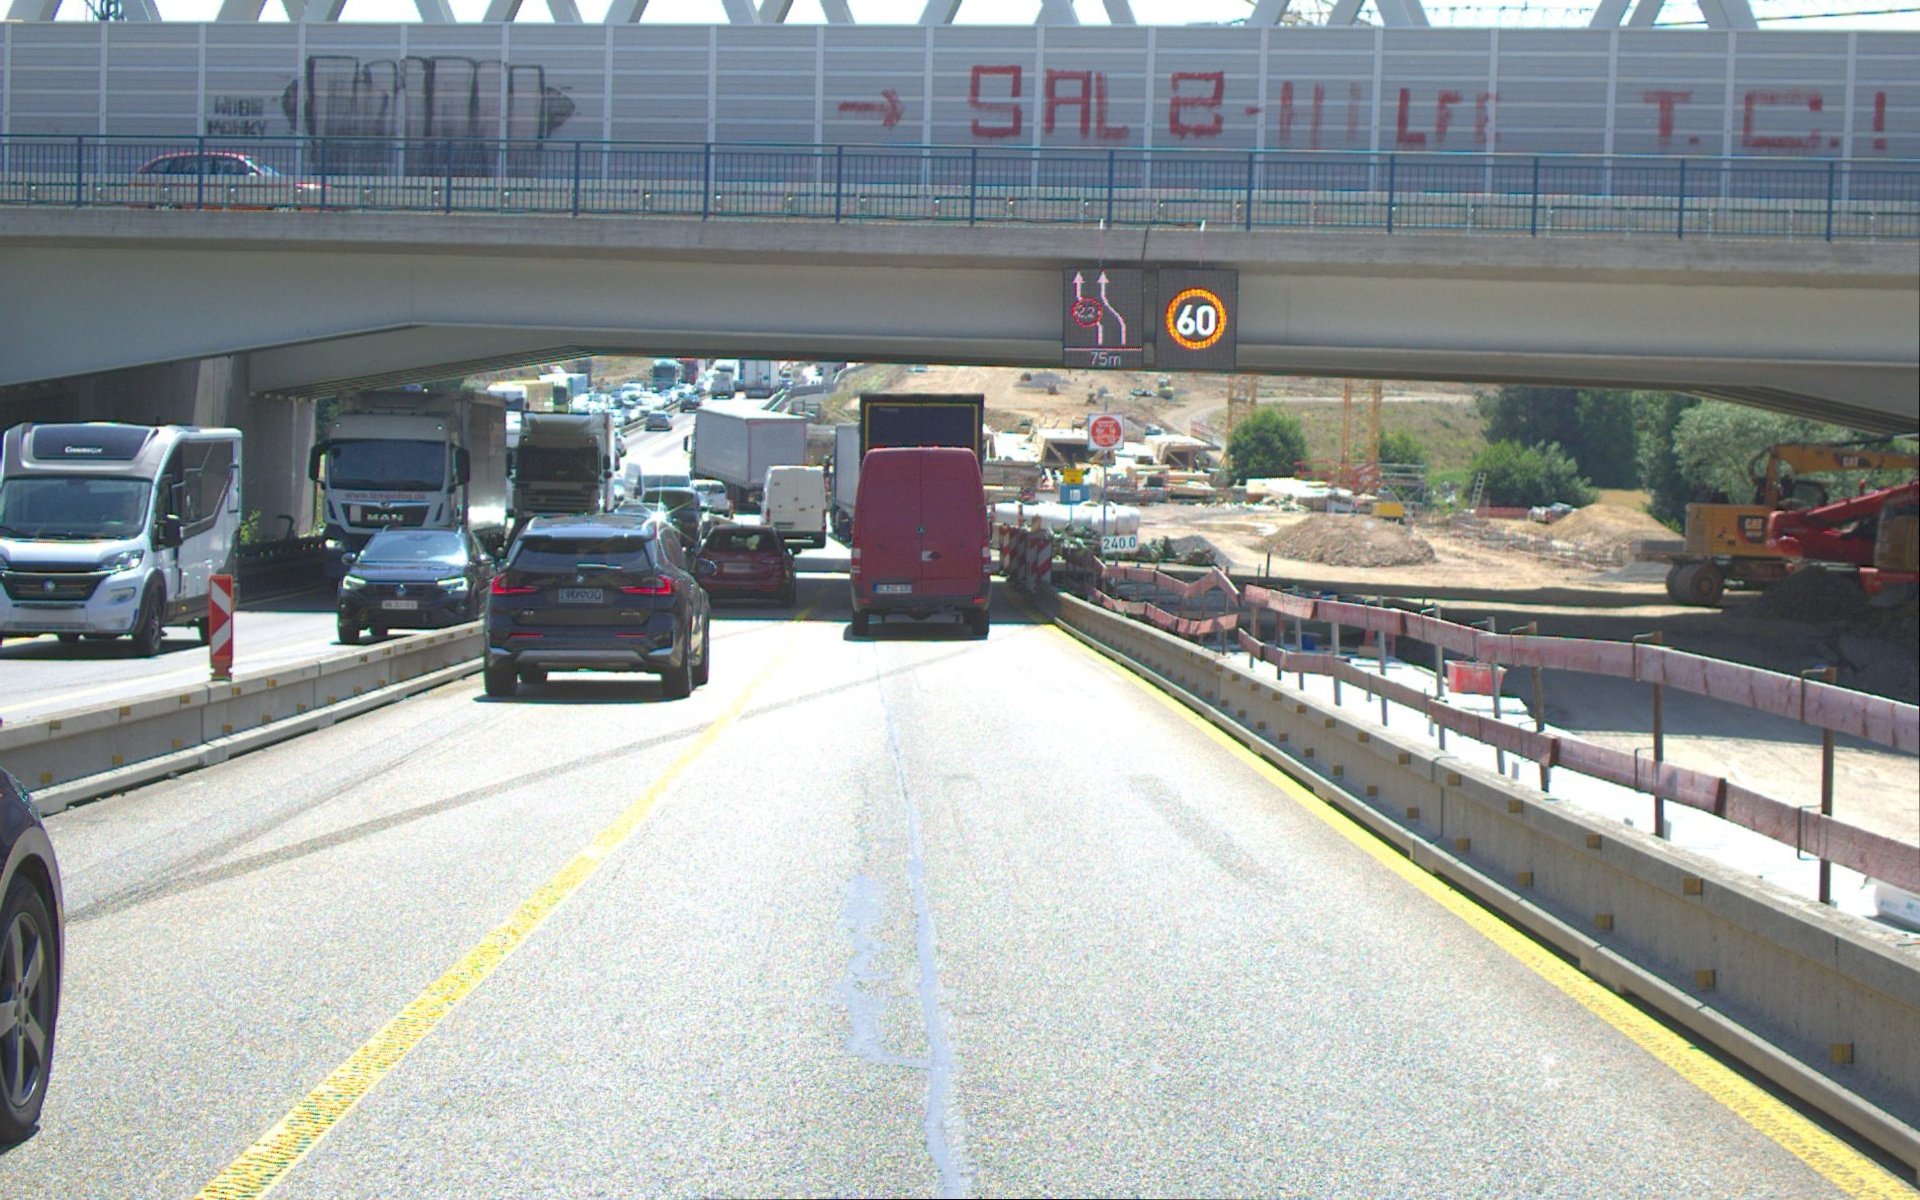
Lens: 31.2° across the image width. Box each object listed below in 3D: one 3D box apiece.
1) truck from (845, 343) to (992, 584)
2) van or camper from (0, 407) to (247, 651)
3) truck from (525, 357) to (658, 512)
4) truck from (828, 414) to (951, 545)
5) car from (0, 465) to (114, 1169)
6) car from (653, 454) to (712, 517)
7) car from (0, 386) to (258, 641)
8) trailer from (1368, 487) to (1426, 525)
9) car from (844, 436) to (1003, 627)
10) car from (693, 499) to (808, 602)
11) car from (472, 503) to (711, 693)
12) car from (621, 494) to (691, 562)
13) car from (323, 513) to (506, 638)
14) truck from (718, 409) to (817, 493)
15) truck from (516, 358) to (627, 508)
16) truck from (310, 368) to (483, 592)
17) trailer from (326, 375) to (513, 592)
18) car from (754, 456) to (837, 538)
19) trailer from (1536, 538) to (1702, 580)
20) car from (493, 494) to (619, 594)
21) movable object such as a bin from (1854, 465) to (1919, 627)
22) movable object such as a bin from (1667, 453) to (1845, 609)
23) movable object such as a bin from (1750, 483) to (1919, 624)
[{"bbox_3d":[-0.917,-3.058,74.267,2.944,4.927,6.743,1,4,-1],"label":"truck"},{"bbox_3d":[-10.202,-0.856,41.395,2.123,2.695,6.456,0,1,-2],"label":"van or camper"},{"bbox_3d":[-11.363,-4.999,107.173,2.769,4.298,13.491,1,1,0],"label":"truck"},{"bbox_3d":[-2.375,-4.008,112.622,3.181,3.975,6.744,0,4,-8],"label":"truck"},{"bbox_3d":[-3.092,0.519,6.761,1.734,1.630,4.390,1,1,0],"label":"car"},{"bbox_3d":[-10.599,-4.355,130.812,1.980,2.322,6.060,1,2,-7],"label":"car"},{"bbox_3d":[-10.201,-1.002,41.524,2.275,2.811,6.559,1,1,-2],"label":"car"},{"bbox_3d":[18.151,-3.923,142.780,1.623,1.481,3.827,1,3,-4],"label":"trailer"},{"bbox_3d":[-0.525,-0.970,49.883,2.150,2.602,5.439,1,1,-1],"label":"car"},{"bbox_3d":[-3.742,-0.913,62.005,1.833,1.771,4.390,1,1,-1],"label":"car"},{"bbox_3d":[-3.359,-0.064,32.031,1.833,1.630,4.390,1,1,-1],"label":"car"},{"bbox_3d":[-8.896,-2.137,100.921,1.799,1.926,4.969,1,2,-3],"label":"car"},{"bbox_3d":[-7.112,-0.358,45.161,1.753,1.512,4.187,1,2,0],"label":"car"},{"bbox_3d":[-8.429,-6.409,149.487,3.218,3.349,8.943,1,1,-10],"label":"truck"},{"bbox_3d":[-11.331,-4.832,100.575,2.659,4.156,5.187,1,1,0],"label":"truck"},{"bbox_3d":[-10.815,-2.263,66.302,2.798,4.136,4.074,1,1,-2],"label":"truck"},{"bbox_3d":[-10.991,-2.303,70.641,2.812,4.159,8.244,1,1,-2],"label":"trailer"},{"bbox_3d":[-5.285,-3.318,109.979,2.264,2.346,5.162,1,4,-7],"label":"car"},{"bbox_3d":[20.439,-1.280,106.781,4.713,1.215,2.056,1,1,-1],"label":"trailer"},{"bbox_3d":[-7.428,-1.028,63.546,1.855,1.750,4.609,1,1,-1],"label":"car"},{"bbox_3d":[21.238,-1.030,71.350,4.554,3.275,2.990,2,1,3],"label":"movable object such as a bin"},{"bbox_3d":[19.096,-1.654,82.679,3.883,3.530,2.902,2,1,10],"label":"movable object such as a bin"},{"bbox_3d":[20.999,-1.018,78.615,5.240,3.046,2.496,2,1,3],"label":"movable object such as a bin"}]
